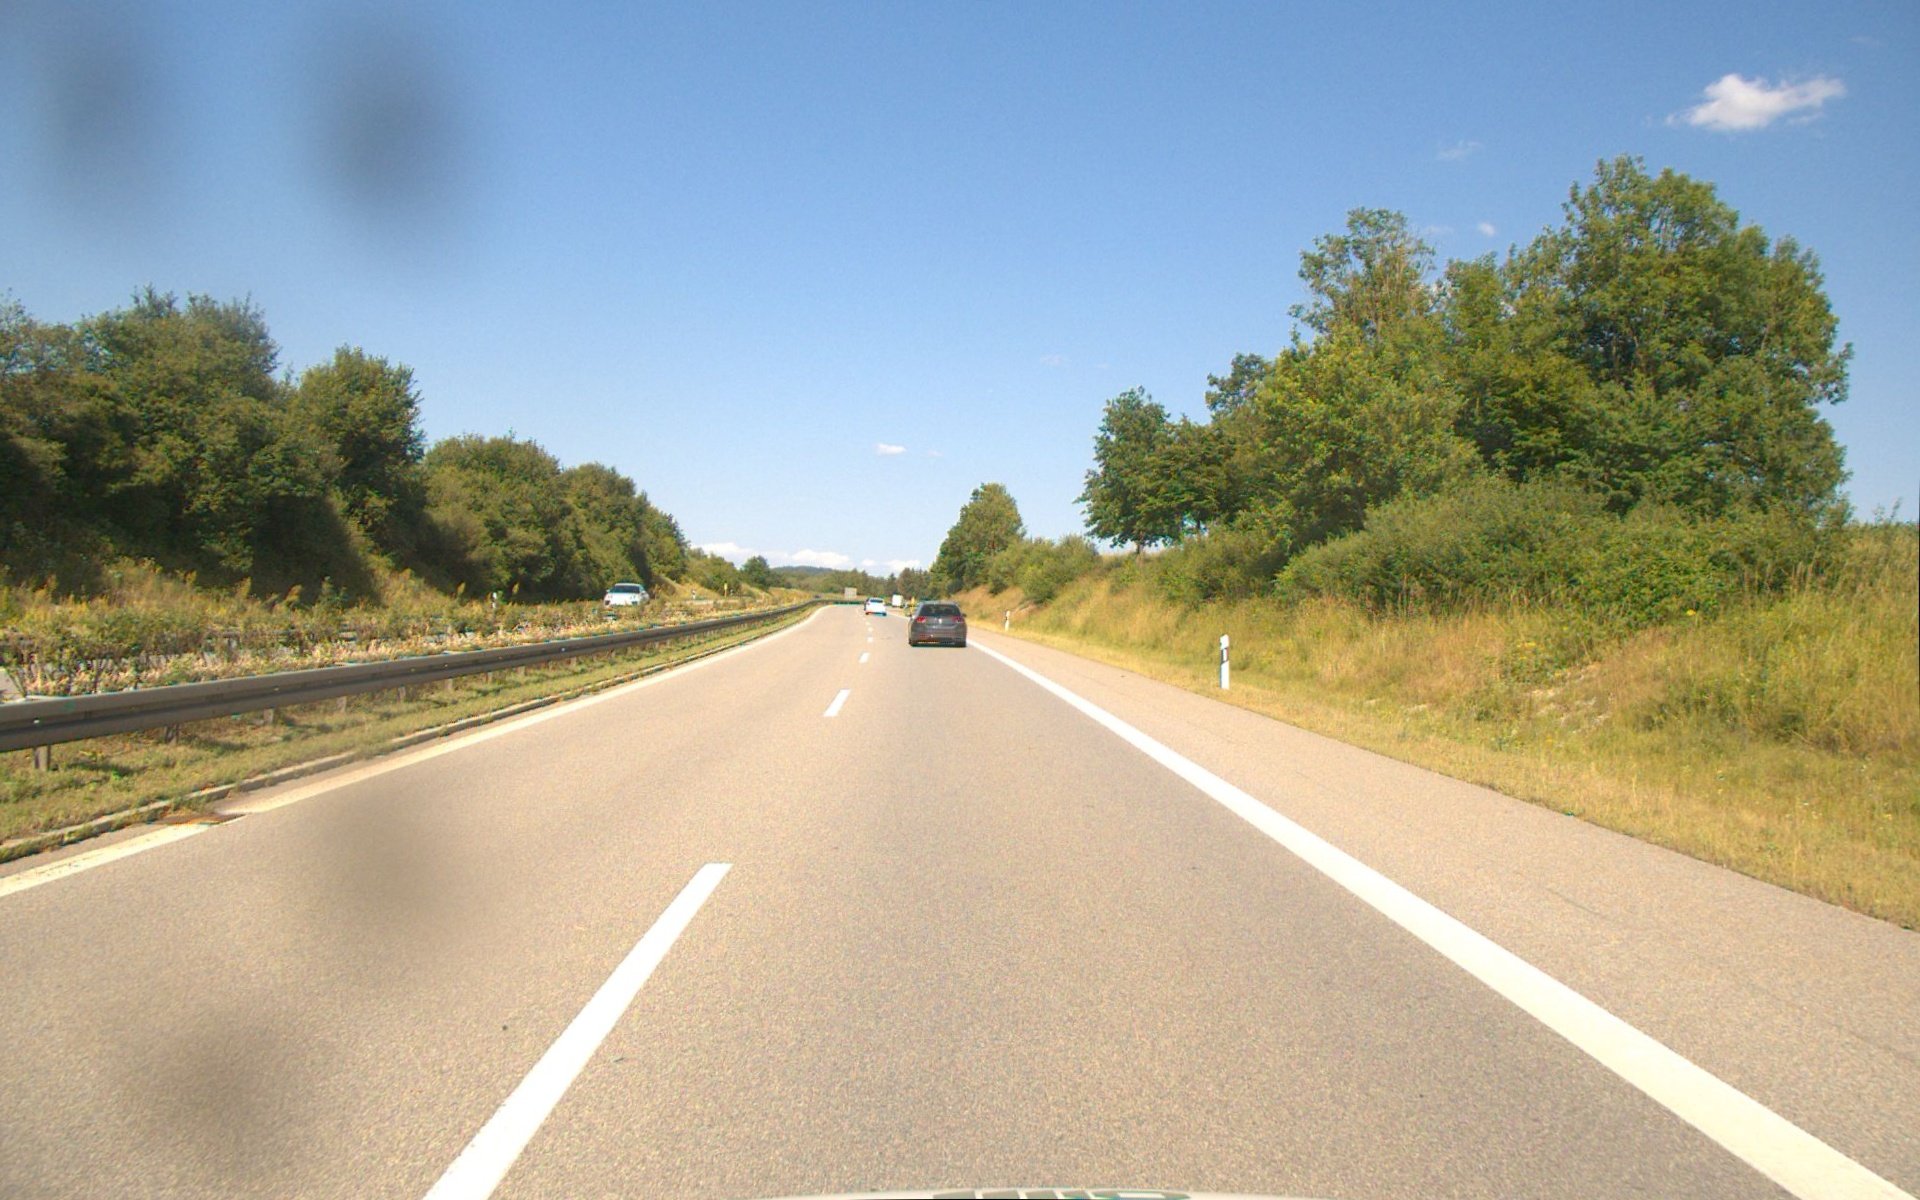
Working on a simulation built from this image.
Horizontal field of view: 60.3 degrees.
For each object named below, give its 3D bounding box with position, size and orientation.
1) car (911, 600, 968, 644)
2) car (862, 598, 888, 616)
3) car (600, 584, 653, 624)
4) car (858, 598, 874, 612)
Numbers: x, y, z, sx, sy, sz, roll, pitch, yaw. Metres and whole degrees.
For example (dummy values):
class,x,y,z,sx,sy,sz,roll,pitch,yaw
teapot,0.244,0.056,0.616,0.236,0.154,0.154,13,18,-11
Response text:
class,x,y,z,sx,sy,sz,roll,pitch,yaw
car,-0.695,0.678,53.348,1.755,1.368,3.998,0,0,-2
car,-7.266,0.617,140.789,1.969,1.368,3.995,5,-1,-5
car,-17.461,0.214,86.877,1.953,2.049,4.853,1,0,-2
car,-10.960,0.563,193.311,1.677,1.411,3.354,6,-1,-1
